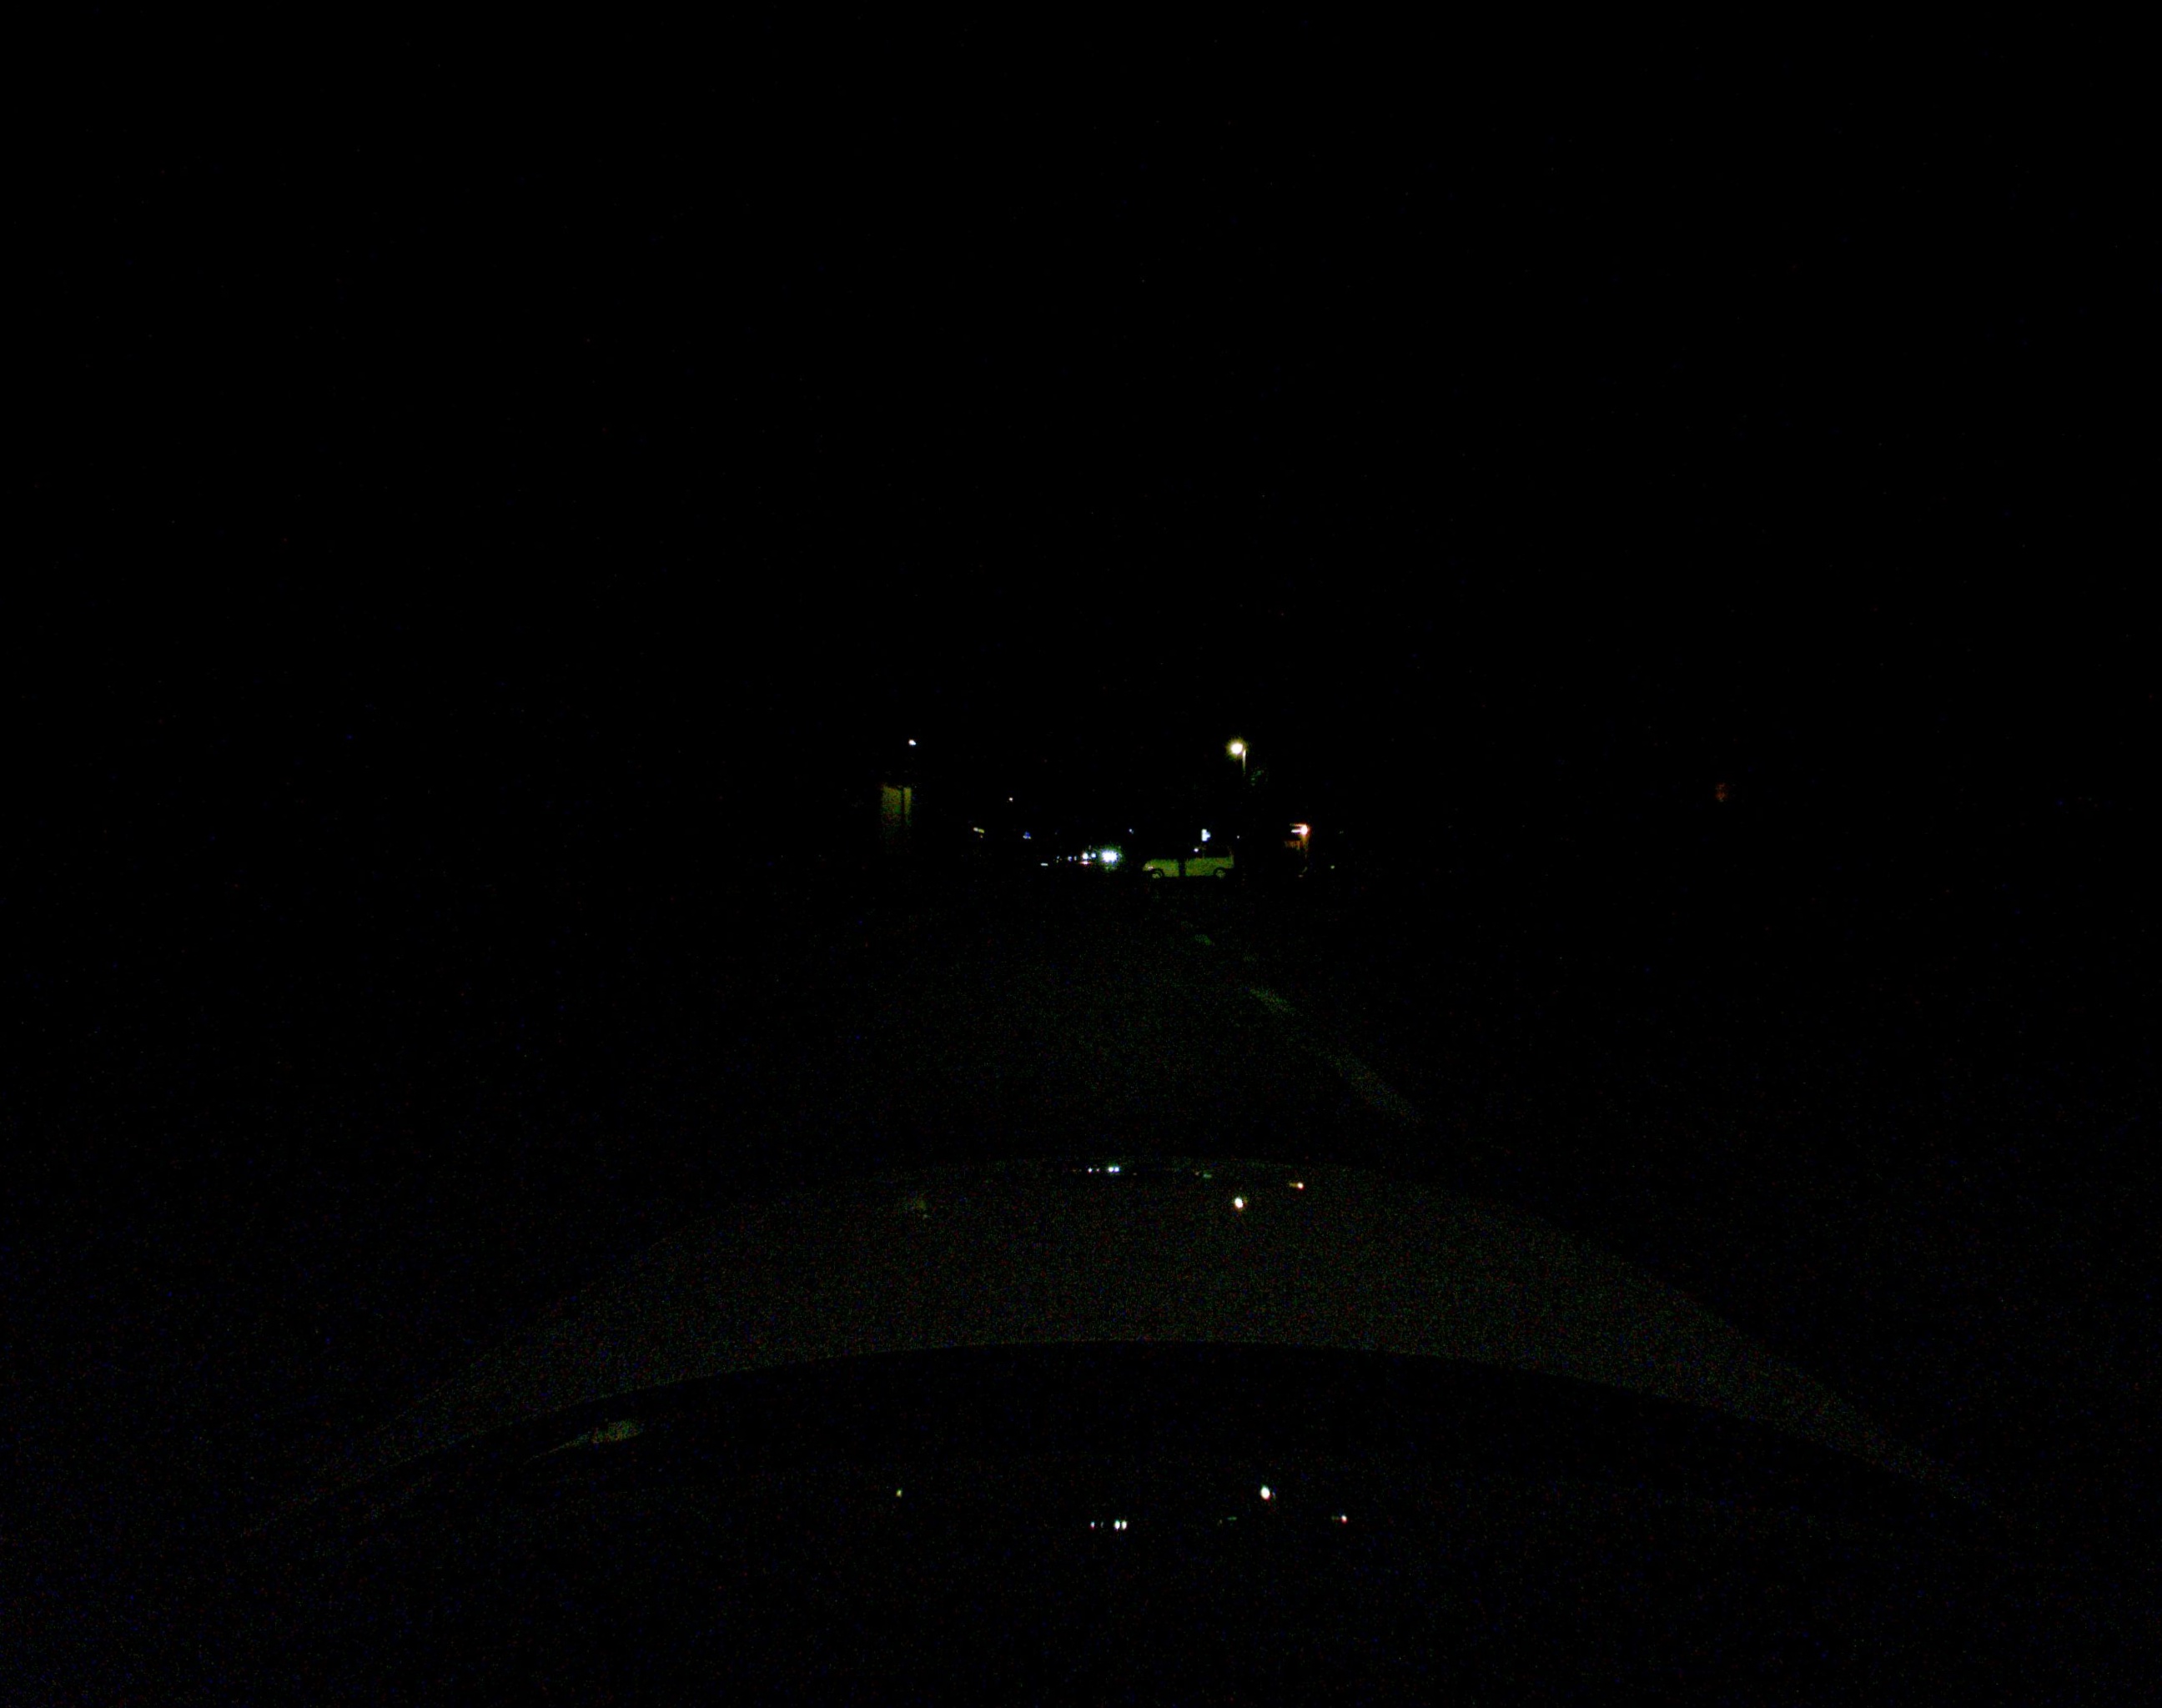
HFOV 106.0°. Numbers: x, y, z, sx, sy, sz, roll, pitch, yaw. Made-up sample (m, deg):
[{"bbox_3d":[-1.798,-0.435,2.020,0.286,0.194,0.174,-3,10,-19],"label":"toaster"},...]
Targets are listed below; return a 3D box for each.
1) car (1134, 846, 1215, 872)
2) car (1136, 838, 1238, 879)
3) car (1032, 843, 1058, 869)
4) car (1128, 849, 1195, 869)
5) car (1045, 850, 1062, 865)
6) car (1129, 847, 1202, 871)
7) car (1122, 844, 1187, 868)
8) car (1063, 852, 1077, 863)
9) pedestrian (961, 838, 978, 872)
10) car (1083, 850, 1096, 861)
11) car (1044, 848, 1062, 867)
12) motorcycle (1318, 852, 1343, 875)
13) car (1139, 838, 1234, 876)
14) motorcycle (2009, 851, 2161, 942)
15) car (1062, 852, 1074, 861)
[{"bbox_3d":[6.203,0.347,54.493,5.166,1.594,2.101,-1,0,0],"label":"car"},{"bbox_3d":[5.610,0.222,43.454,5.166,2.013,2.101,-1,0,0],"label":"car"},{"bbox_3d":[-2.938,0.137,67.217,1.819,1.986,4.465,2,0,0],"label":"car"},{"bbox_3d":[6.414,0.356,65.503,5.166,1.469,2.101,-1,0,0],"label":"car"},{"bbox_3d":[-2.669,0.347,79.287,1.529,1.451,3.119,0,0,0],"label":"car"},{"bbox_3d":[6.179,0.338,59.988,5.166,1.594,2.101,-1,0,0],"label":"car"},{"bbox_3d":[6.179,0.139,68.155,5.149,1.887,2.108,-1,0,10],"label":"car"},{"bbox_3d":[-1.294,0.363,100.629,1.677,1.331,3.599,0,0,0],"label":"car"},{"bbox_3d":[-6.762,0.052,49.257,0.782,2.013,1.205,2,0,1],"label":"pedestrian"},{"bbox_3d":[1.238,0.244,123.903,1.921,1.648,3.821,-1,0,0],"label":"car"},{"bbox_3d":[-2.542,0.316,74.254,1.529,1.688,3.212,2,0,0],"label":"car"},{"bbox_3d":[15.130,0.576,49.273,1.060,1.326,2.722,0,1,25],"label":"motorcycle"},{"bbox_3d":[5.964,0.174,46.514,5.166,2.013,2.101,-1,0,0],"label":"car"},{"bbox_3d":[15.008,0.600,12.064,2.262,1.214,0.708,-2,0,-15],"label":"motorcycle"},{"bbox_3d":[-1.822,0.319,115.941,1.677,1.331,3.599,0,0,0],"label":"car"}]
